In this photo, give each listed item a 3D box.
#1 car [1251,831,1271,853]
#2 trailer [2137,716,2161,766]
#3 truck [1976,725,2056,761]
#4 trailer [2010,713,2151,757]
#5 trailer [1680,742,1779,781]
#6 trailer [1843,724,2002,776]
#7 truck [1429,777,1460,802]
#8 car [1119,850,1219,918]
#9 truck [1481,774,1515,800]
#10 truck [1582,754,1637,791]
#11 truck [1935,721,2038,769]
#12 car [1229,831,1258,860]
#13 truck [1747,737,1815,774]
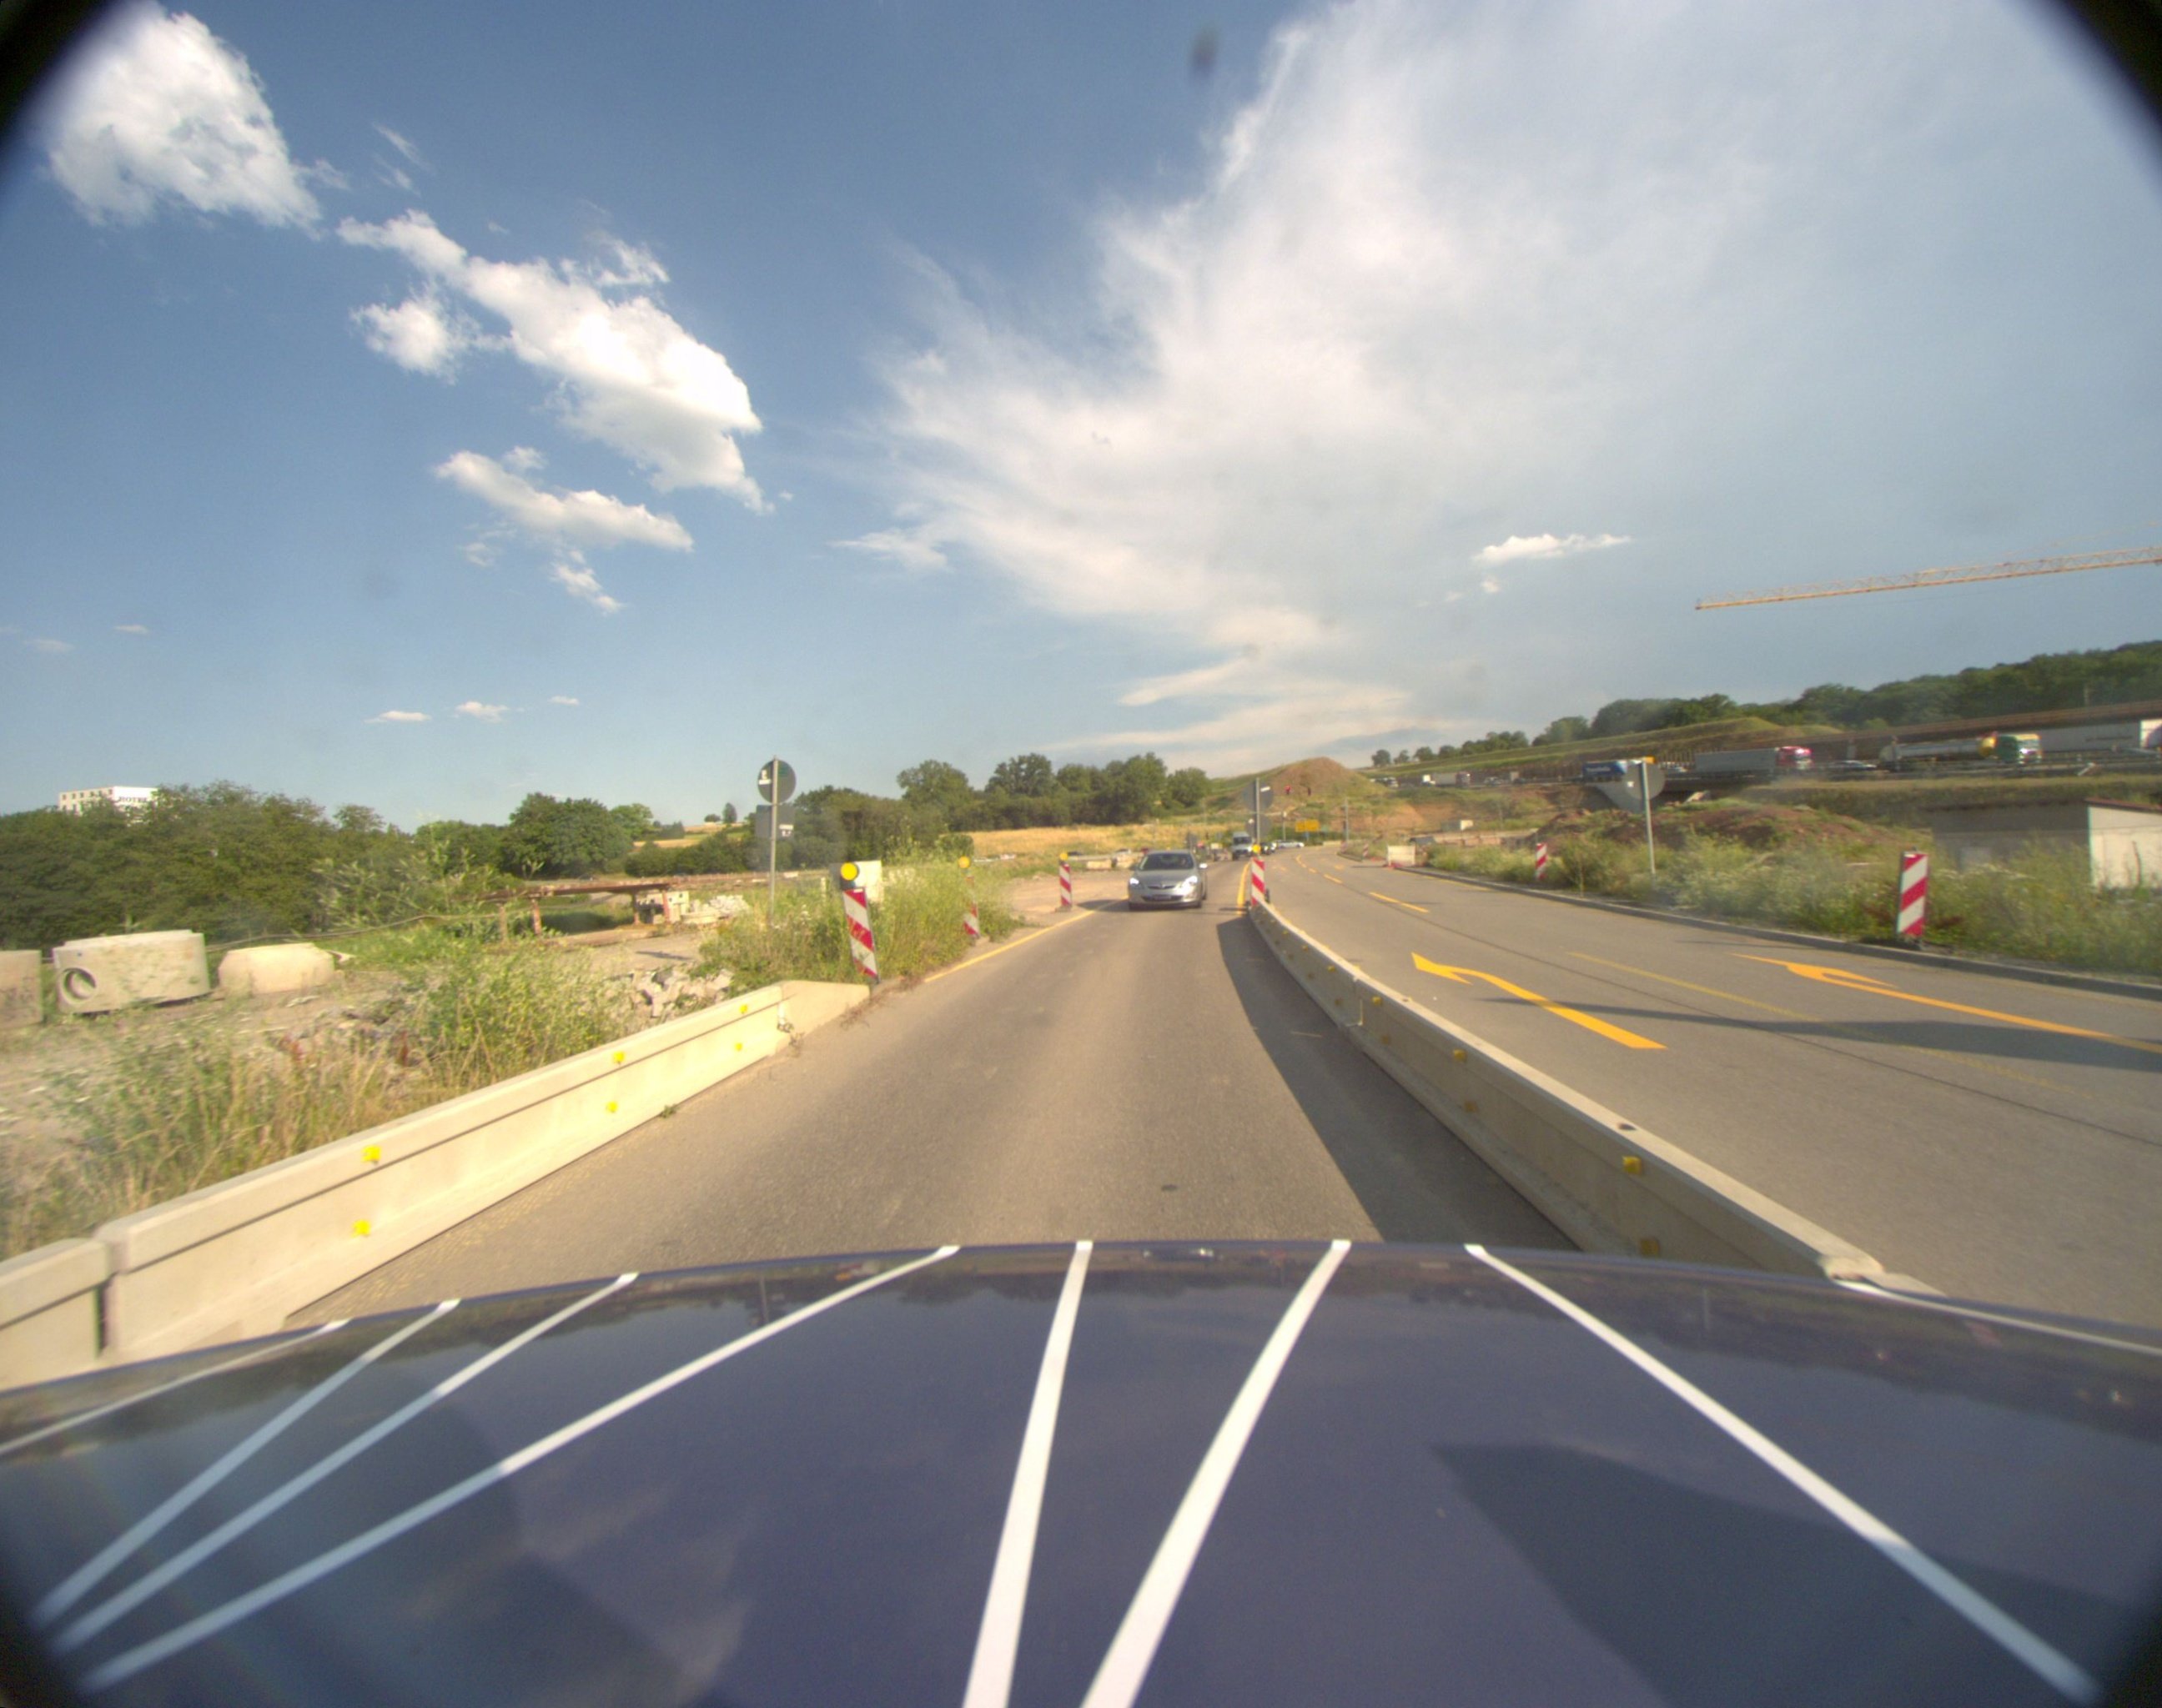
[{"bbox_3d":[21.197,-1.412,89.404,1.873,2.389,4.005,-2,1,18],"label":"car"},{"bbox_3d":[98.206,-10.162,62.459,3.111,4.289,14.250,-2,1,0],"label":"trailer"},{"bbox_3d":[117.347,-13.887,95.485,1.976,3.494,6.593,-2,1,1],"label":"truck"},{"bbox_3d":[117.224,-13.815,89.470,1.970,3.493,11.173,-2,1,1],"label":"trailer"},{"bbox_3d":[98.898,-13.995,116.461,3.111,4.289,14.250,-2,1,0],"label":"trailer"},{"bbox_3d":[98.983,-12.104,90.065,3.111,4.289,14.250,-2,1,0],"label":"trailer"},{"bbox_3d":[99.084,-17.413,207.236,3.172,5.837,10.674,-2,1,1],"label":"truck"},{"bbox_3d":[2.386,0.703,19.640,1.745,1.476,4.257,-2,0,17],"label":"car"},{"bbox_3d":[111.128,-17.827,202.795,3.172,5.837,10.674,-2,1,1],"label":"truck"},{"bbox_3d":[99.102,-15.271,142.736,3.172,5.837,10.144,-2,1,1],"label":"truck"},{"bbox_3d":[98.952,-11.835,83.226,3.111,4.289,6.895,-2,1,1],"label":"truck"},{"bbox_3d":[14.930,-0.823,69.747,1.913,2.486,5.804,-2,1,18],"label":"car"},{"bbox_3d":[98.811,-13.862,107.408,3.111,4.289,6.895,-2,1,1],"label":"truck"}]
